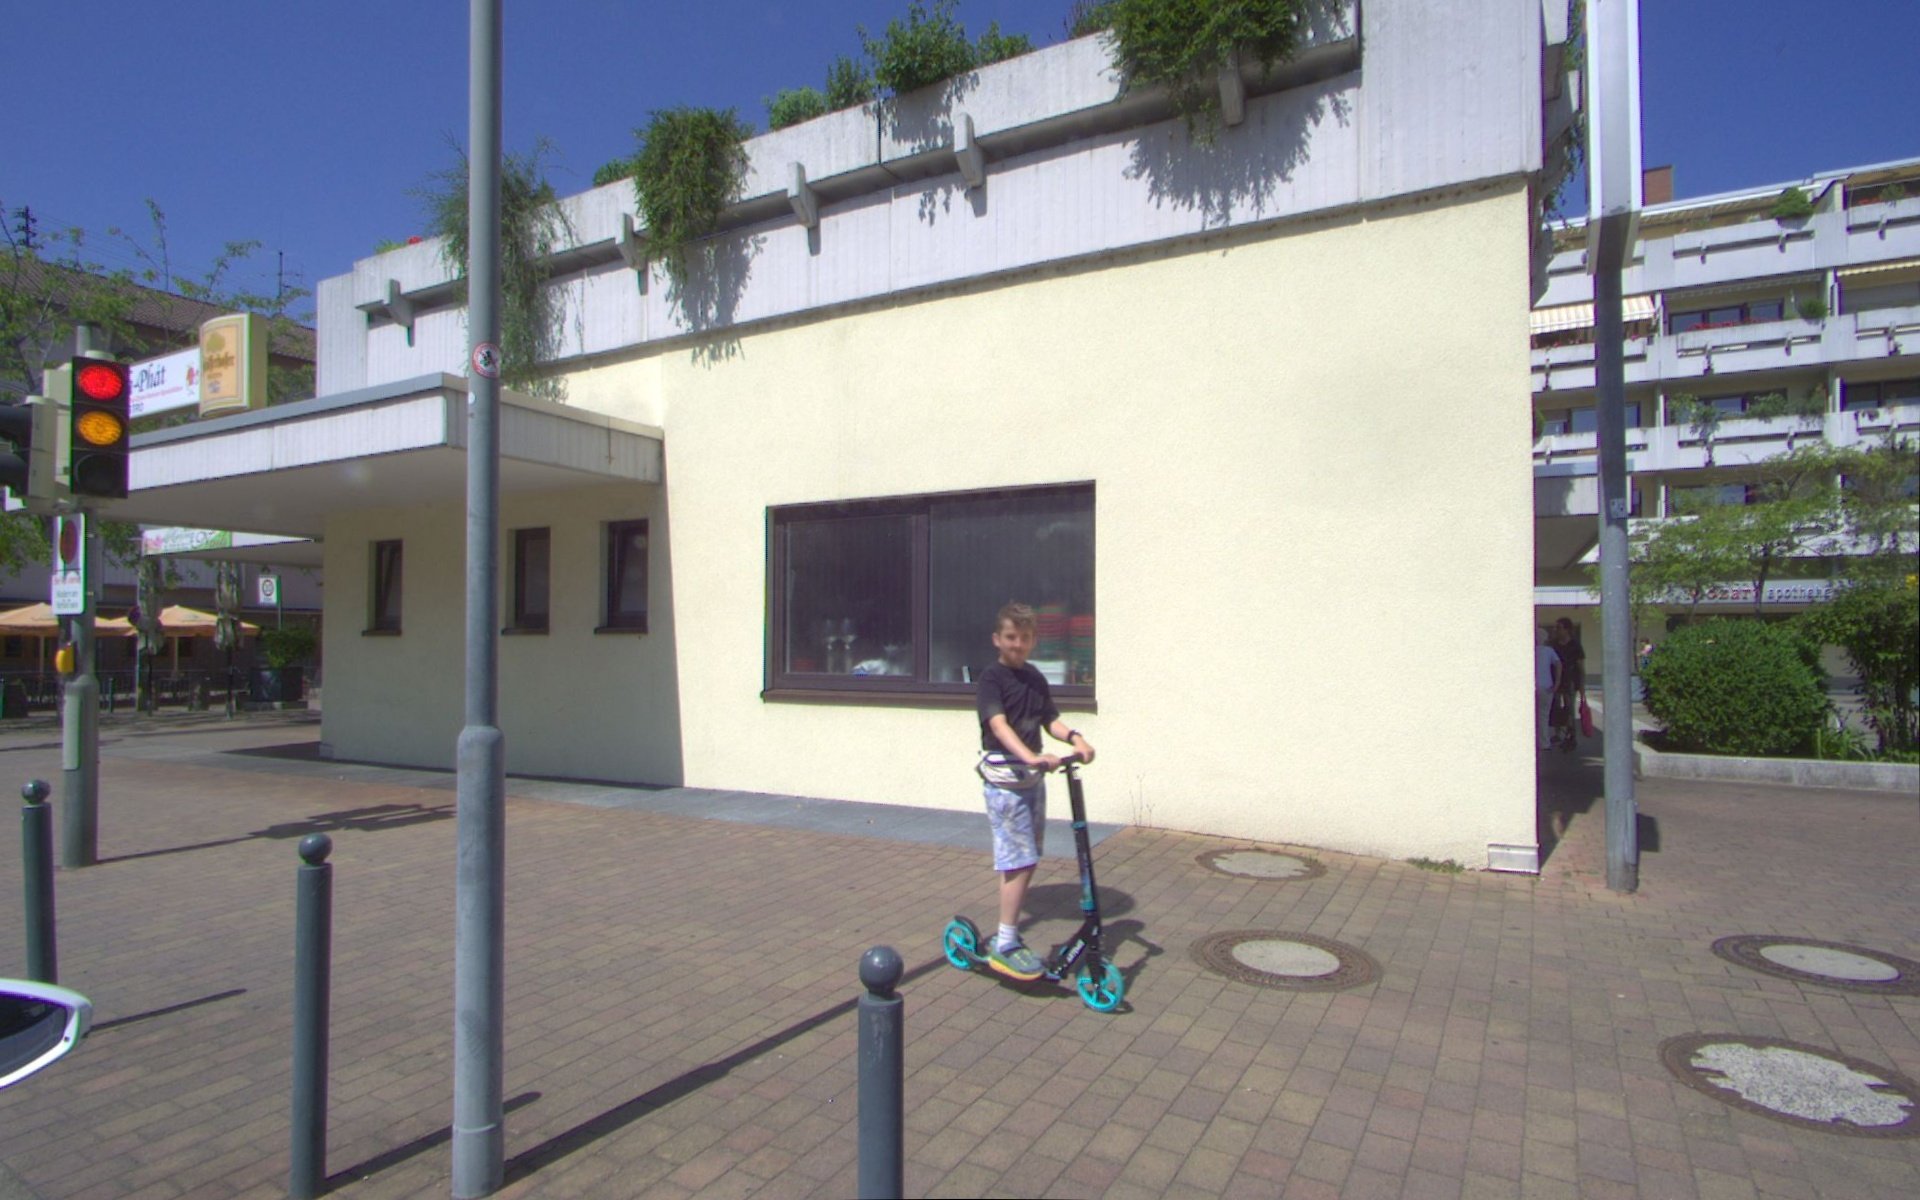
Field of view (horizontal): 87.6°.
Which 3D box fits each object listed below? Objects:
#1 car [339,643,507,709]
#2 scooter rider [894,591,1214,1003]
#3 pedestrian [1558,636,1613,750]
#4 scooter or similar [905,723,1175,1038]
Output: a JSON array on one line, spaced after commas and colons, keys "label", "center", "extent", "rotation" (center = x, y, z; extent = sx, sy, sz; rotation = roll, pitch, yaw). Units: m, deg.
[{"label": "car", "center": [-13.432, 1.882, 25.046], "extent": [3.909, 1.528, 1.767], "rotation": [-2, -3, 26]}, {"label": "scooter rider", "center": [0.335, 0.660, 3.769], "extent": [1.117, 1.341, 0.460], "rotation": [-1, -1, 33]}, {"label": "pedestrian", "center": [8.459, 1.233, 13.552], "extent": [0.596, 1.482, 0.791], "rotation": [-1, -2, 32]}, {"label": "scooter or similar", "center": [0.290, 0.993, 3.795], "extent": [0.947, 0.977, 0.410], "rotation": [-1, -2, 34]}]
